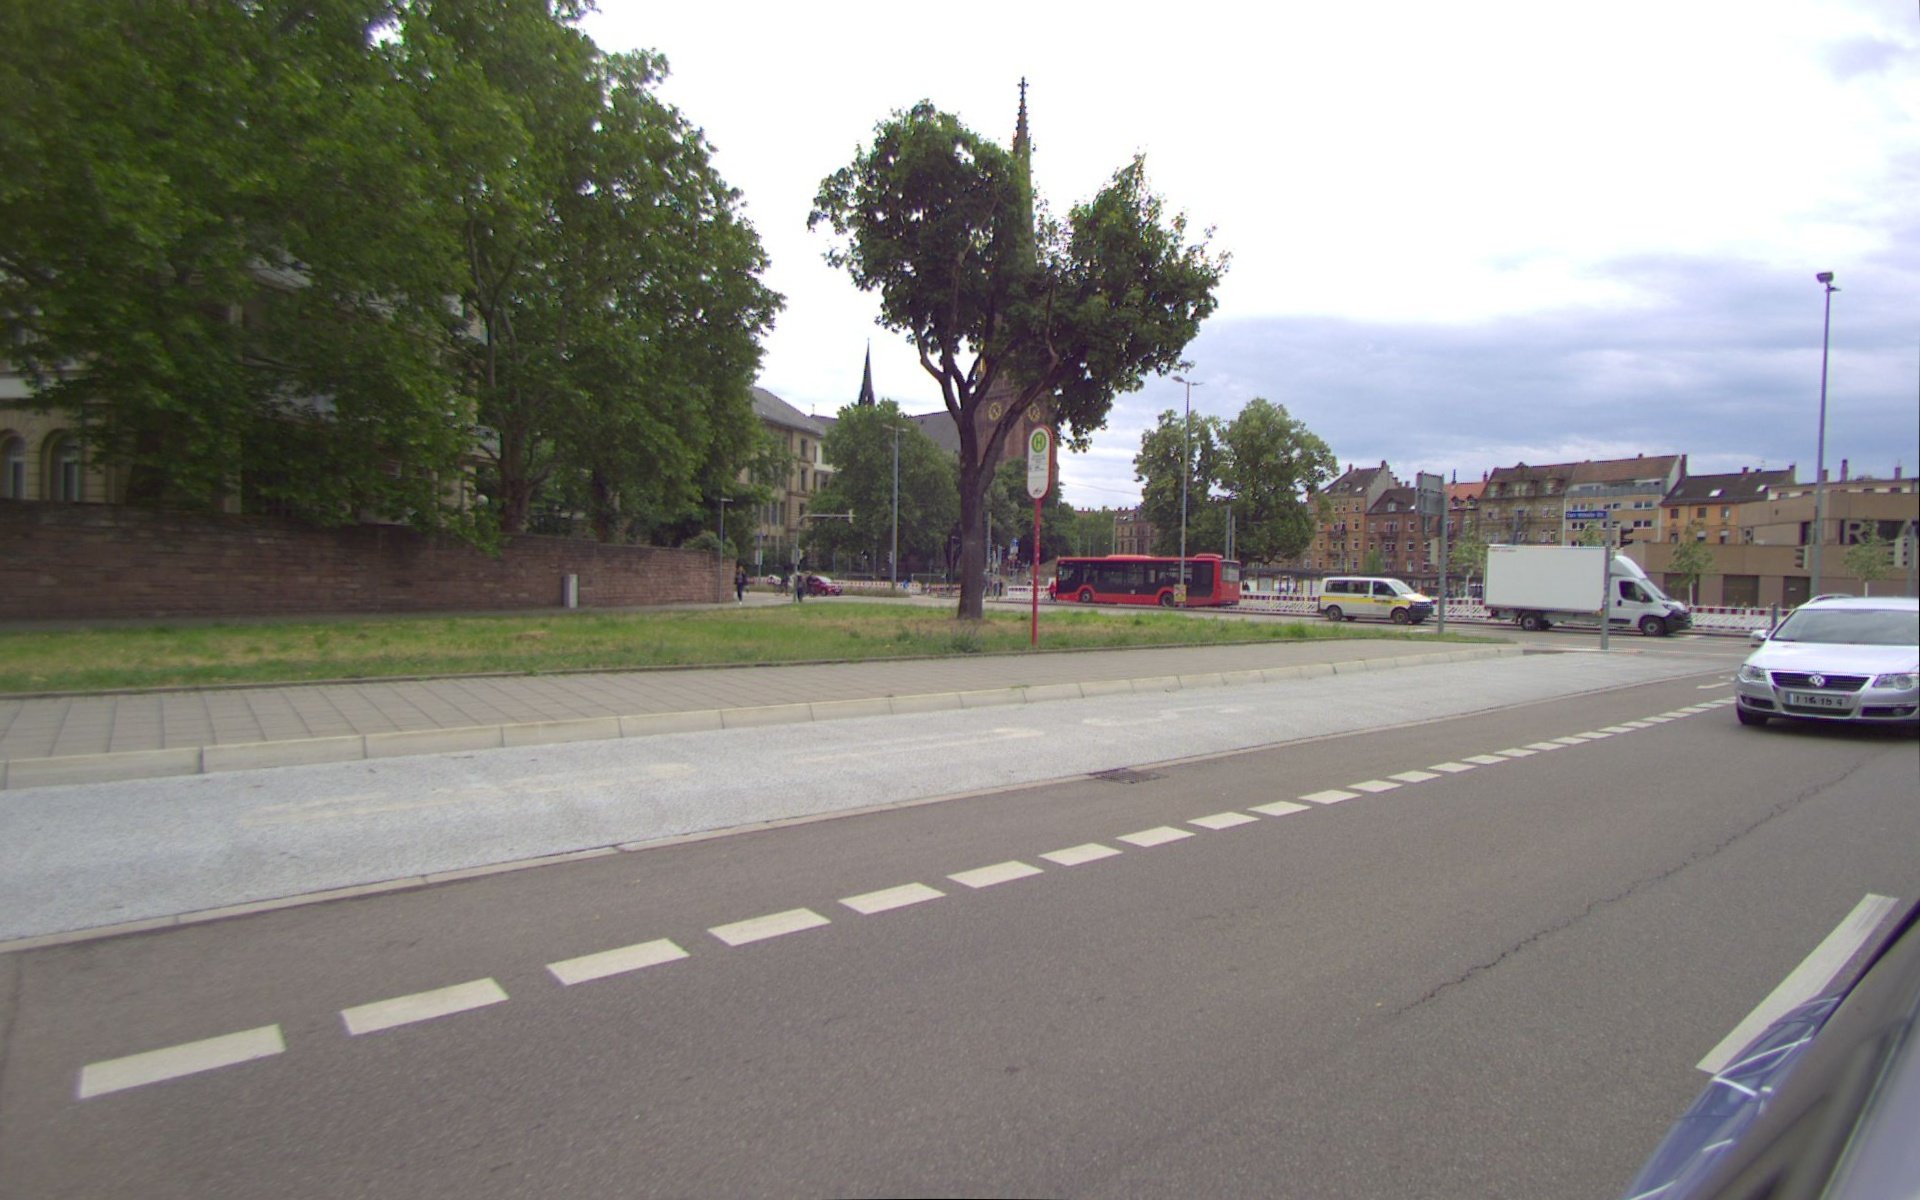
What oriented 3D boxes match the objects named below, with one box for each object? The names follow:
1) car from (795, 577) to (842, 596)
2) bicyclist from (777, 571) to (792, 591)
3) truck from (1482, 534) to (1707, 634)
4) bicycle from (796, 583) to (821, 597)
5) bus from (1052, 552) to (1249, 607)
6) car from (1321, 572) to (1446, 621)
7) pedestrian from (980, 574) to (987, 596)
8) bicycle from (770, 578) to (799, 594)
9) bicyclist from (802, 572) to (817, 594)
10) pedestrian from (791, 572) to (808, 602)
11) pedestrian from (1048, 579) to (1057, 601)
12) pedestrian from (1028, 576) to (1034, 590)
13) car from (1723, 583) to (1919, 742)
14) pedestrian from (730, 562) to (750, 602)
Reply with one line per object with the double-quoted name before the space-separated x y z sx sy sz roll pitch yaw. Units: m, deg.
"car" -10.452 -0.997 74.717 3.520 1.170 1.427 5 3 38
"bicyclist" -12.780 -1.366 73.756 0.737 1.373 0.782 4 2 36
"truck" 23.923 -0.679 38.446 2.519 3.453 6.837 -1 2 -44
"bicycle" -10.754 -0.711 71.650 1.810 0.830 0.594 5 2 36
"bus" 10.940 -1.288 59.992 2.888 2.944 12.071 1 1 -43
"car" 18.418 -0.219 44.202 1.888 1.942 4.706 -2 3 -42
"pedestrian" 1.865 -1.188 80.160 0.365 1.726 0.373 1 2 -41
"bicycle" -12.773 -1.007 73.752 2.209 1.051 0.782 5 3 37
"bicyclist" -10.665 -1.188 71.594 0.777 1.540 0.594 4 2 35
"pedestrian" -9.300 -0.762 58.599 0.678 1.659 0.874 2 0 -26
"pedestrian" 6.235 -0.671 67.932 0.367 1.484 0.372 1 2 -41
"pedestrian" 6.158 -1.486 87.822 0.365 1.210 0.373 1 2 -41
"car" 10.897 0.589 12.031 4.444 1.570 1.829 -1 1 -38
"pedestrian" -10.072 -0.832 46.418 0.742 1.756 0.824 3 2 -5
